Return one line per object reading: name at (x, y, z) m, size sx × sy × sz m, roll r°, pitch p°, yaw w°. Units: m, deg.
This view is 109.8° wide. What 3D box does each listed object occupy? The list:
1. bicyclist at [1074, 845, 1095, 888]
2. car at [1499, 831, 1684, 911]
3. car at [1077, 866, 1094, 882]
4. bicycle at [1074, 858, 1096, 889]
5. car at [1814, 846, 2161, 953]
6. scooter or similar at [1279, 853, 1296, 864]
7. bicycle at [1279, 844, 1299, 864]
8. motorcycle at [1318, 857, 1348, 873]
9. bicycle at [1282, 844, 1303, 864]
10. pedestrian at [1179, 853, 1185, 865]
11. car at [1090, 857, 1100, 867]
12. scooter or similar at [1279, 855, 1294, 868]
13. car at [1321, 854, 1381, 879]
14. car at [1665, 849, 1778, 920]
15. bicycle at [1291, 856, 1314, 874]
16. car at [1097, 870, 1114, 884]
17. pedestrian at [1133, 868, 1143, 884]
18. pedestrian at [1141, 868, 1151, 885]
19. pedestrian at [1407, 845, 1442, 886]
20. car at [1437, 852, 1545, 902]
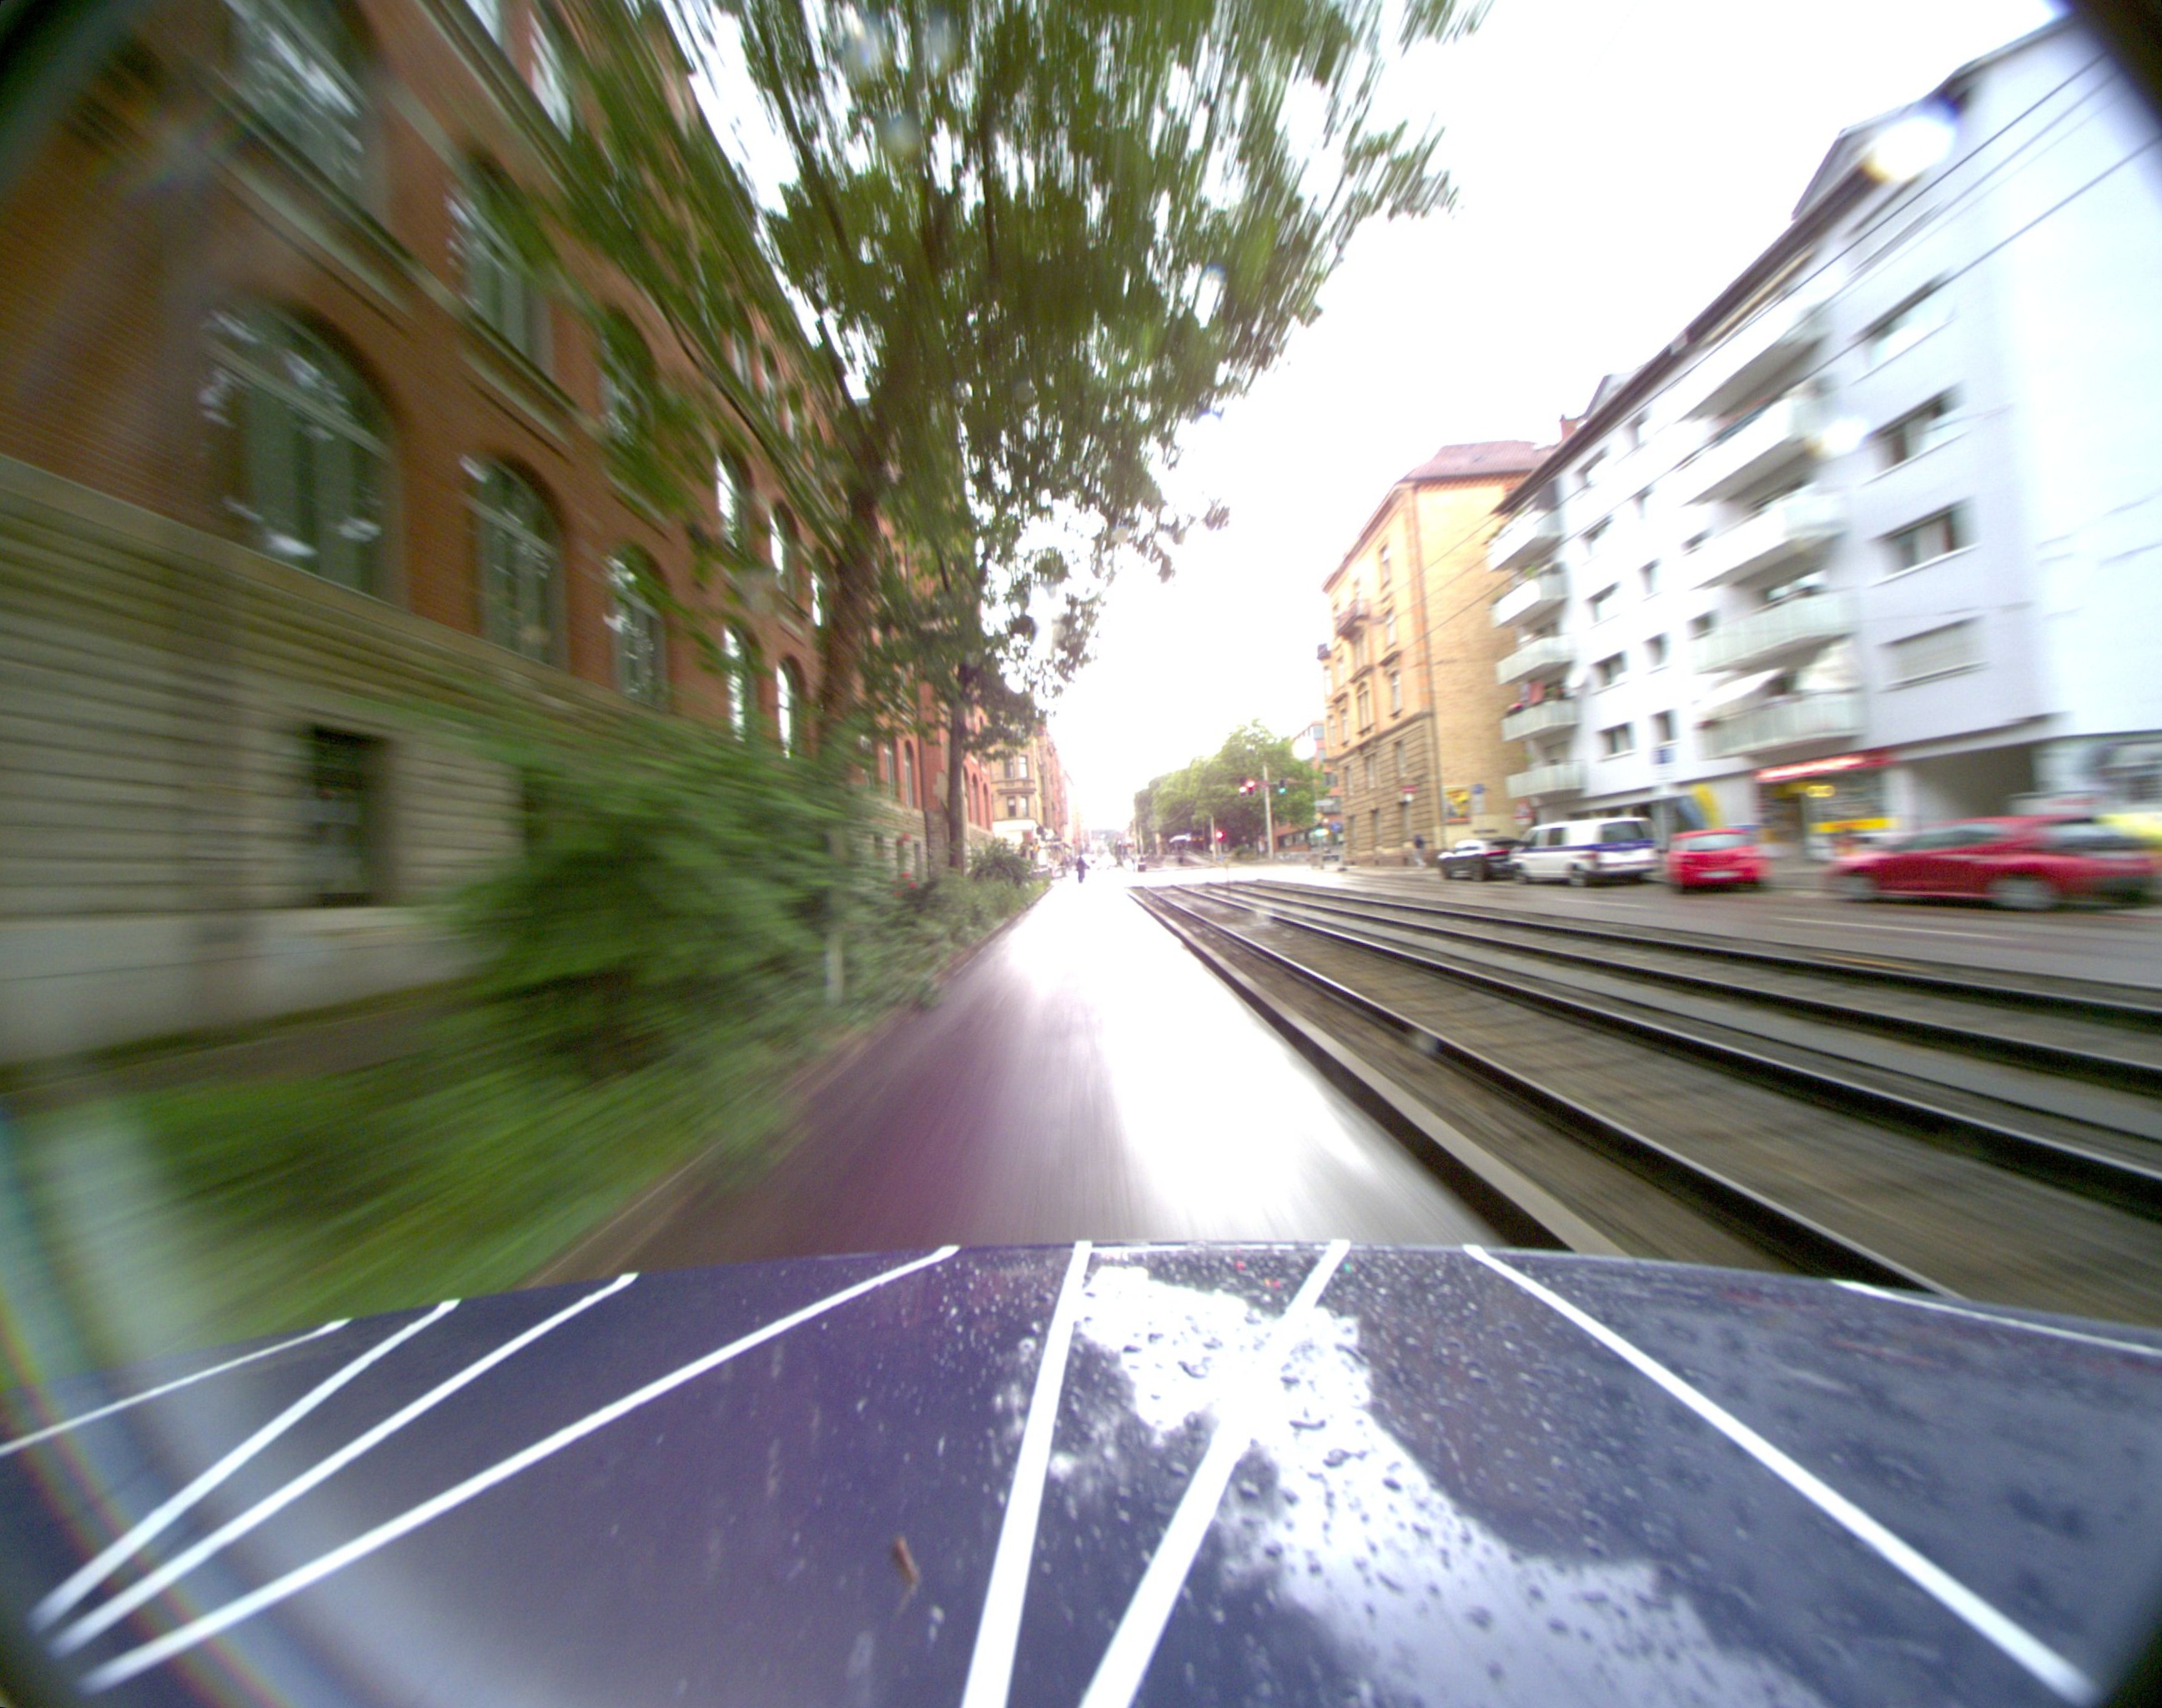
bicyclist at (0.188, 0.658, 40.805) m, size 0.920 × 2.250 × 1.288 m, roll -3°, pitch 0°, yaw 3°
car at (15.574, 0.500, 23.662) m, size 2.075 × 1.997 × 5.302 m, roll -6°, pitch -1°, yaw 1°
car at (0.639, 2.657, 101.616) m, size 1.825 × 1.893 × 5.992 m, roll -4°, pitch 0°, yaw 3°
bicycle at (0.231, 1.033, 40.755) m, size 0.936 × 1.545 × 3.136 m, roll -4°, pitch -1°, yaw 3°
car at (15.199, 0.648, 12.861) m, size 1.657 × 1.443 × 4.074 m, roll -3°, pitch 0°, yaw 2°
scooter or similar at (22.487, 0.499, 82.779) m, size 1.720 × 1.187 × 0.478 m, roll -3°, pitch 0°, yaw -19°
bicycle at (22.297, -0.024, 81.383) m, size 1.896 × 2.002 × 0.518 m, roll -4°, pitch 1°, yaw -5°
motorcycle at (24.726, 1.077, 74.496) m, size 2.658 × 1.363 × 0.866 m, roll -3°, pitch 1°, yaw -5°
bicycle at (22.400, -0.032, 80.389) m, size 1.896 × 2.002 × 0.518 m, roll -4°, pitch 1°, yaw -5°
pedestrian at (16.974, 0.842, 127.725) m, size 0.837 × 2.050 × 0.884 m, roll -3°, pitch 0°, yaw -2°
car at (2.957, 1.694, 158.156) m, size 1.884 × 1.838 × 3.999 m, roll -4°, pitch 0°, yaw -2°
scooter or similar at (22.590, 0.798, 83.456) m, size 1.507 × 1.363 × 0.452 m, roll -4°, pitch 0°, yaw -15°
car at (19.423, 0.913, 54.737) m, size 3.801 × 1.529 × 1.775 m, roll -3°, pitch 0°, yaw -23°
car at (15.776, 0.700, 18.905) m, size 1.781 × 1.425 × 3.989 m, roll -4°, pitch 0°, yaw 36°
bicycle at (22.807, 1.094, 78.235) m, size 2.096 × 1.688 × 0.557 m, roll -4°, pitch 0°, yaw -5°
car at (3.041, 2.811, 94.451) m, size 1.883 × 1.438 × 4.000 m, roll -4°, pitch 0°, yaw 1°
pedestrian at (5.957, 2.340, 79.285) m, size 0.837 × 1.595 × 1.001 m, roll -3°, pitch 0°, yaw 0°
pedestrian at (6.795, 2.336, 79.047) m, size 0.827 × 1.788 × 1.001 m, roll -3°, pitch 0°, yaw 0°
pedestrian at (17.101, 0.576, 37.868) m, size 1.174 × 1.917 × 1.178 m, roll -4°, pitch 0°, yaw 4°
car at (15.565, 0.825, 29.153) m, size 1.737 × 1.641 × 4.364 m, roll -4°, pitch 0°, yaw 1°
